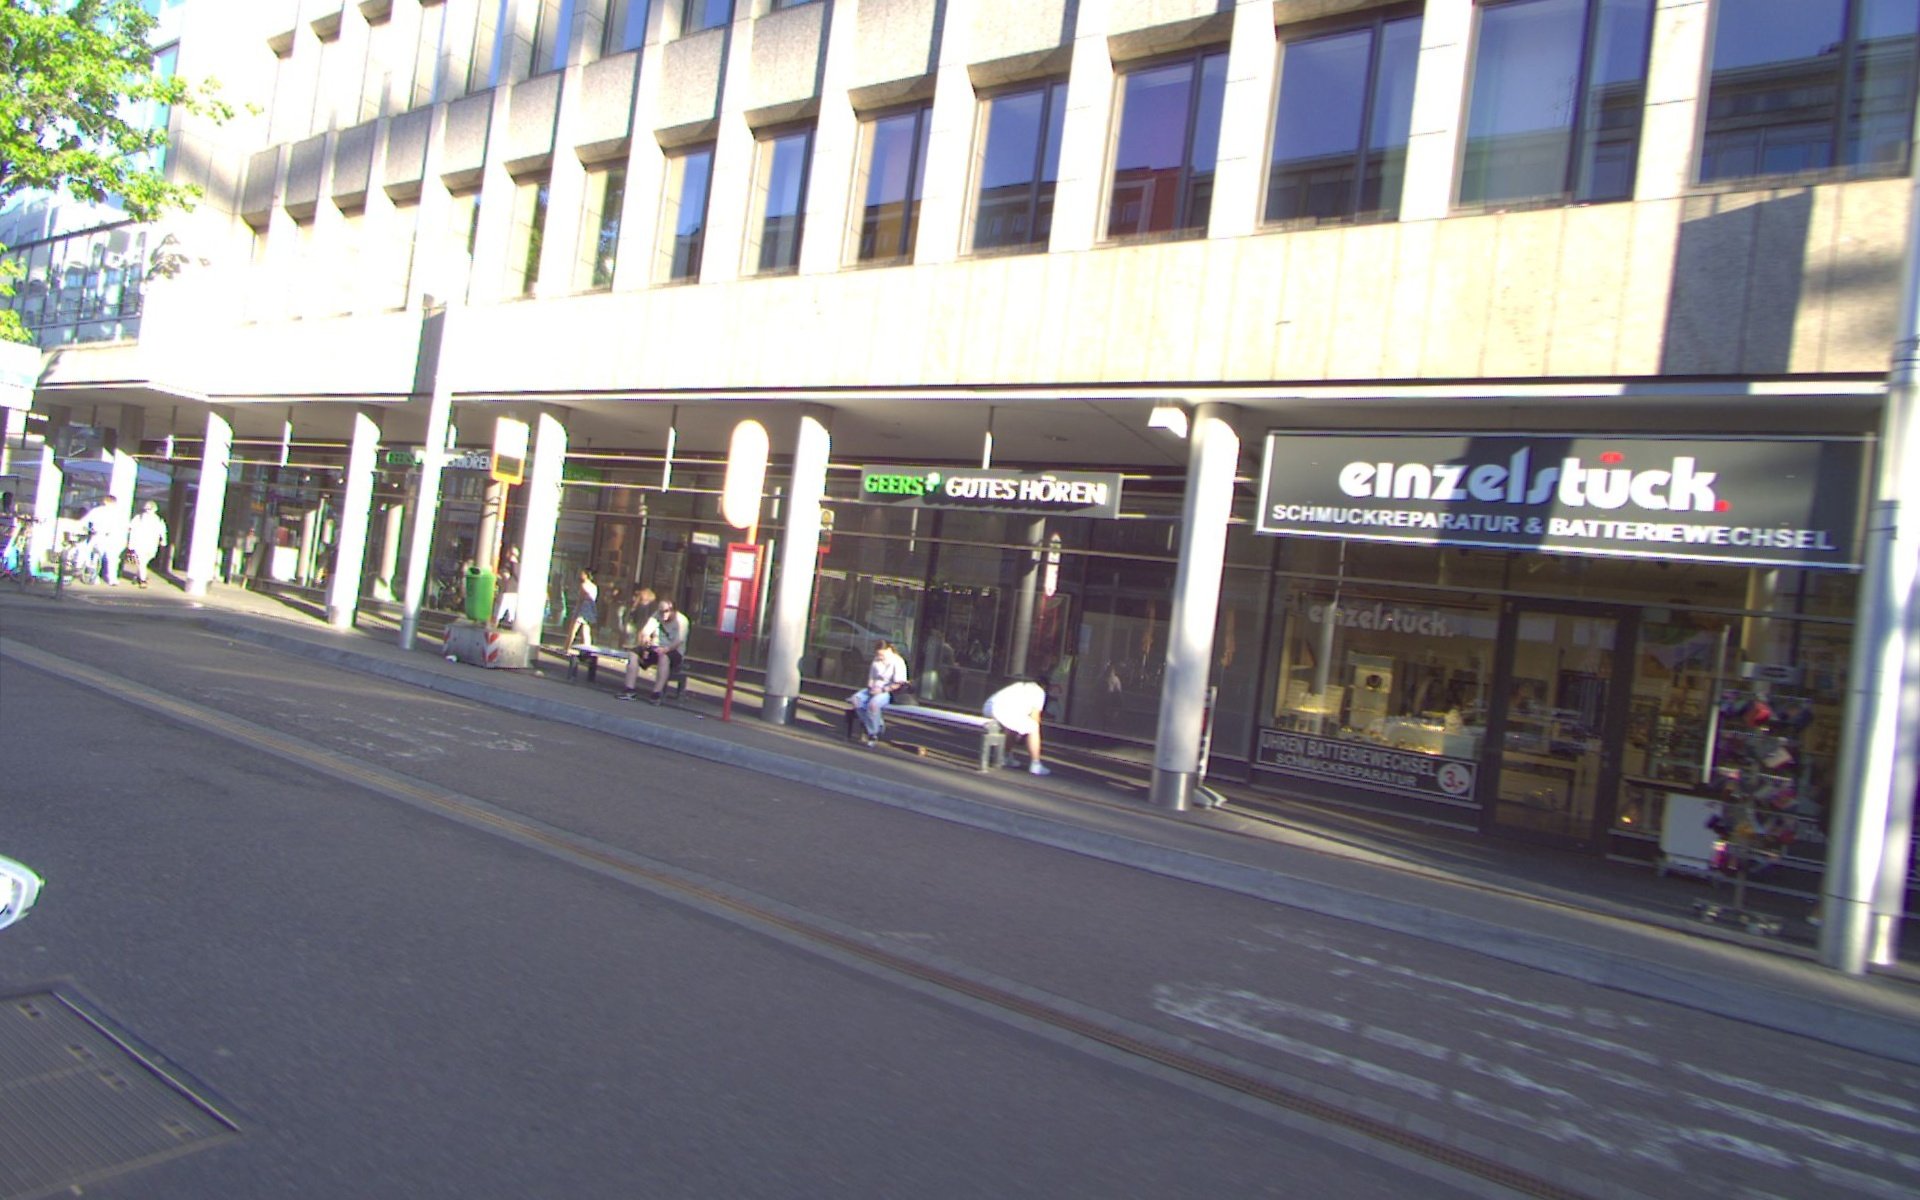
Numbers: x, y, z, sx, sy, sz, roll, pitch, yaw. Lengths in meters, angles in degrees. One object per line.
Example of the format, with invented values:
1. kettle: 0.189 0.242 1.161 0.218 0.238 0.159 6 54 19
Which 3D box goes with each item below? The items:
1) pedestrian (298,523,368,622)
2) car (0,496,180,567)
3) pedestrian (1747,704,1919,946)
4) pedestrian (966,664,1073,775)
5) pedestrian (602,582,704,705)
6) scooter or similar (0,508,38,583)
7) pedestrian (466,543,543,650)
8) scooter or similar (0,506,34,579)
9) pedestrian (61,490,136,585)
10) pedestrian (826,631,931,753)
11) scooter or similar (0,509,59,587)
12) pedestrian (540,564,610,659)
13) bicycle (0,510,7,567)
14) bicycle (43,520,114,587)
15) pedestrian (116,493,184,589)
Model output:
1. pedestrian: -11.390 -0.499 18.292 0.768 1.672 0.638 7 -1 32
2. car: -26.120 -2.012 30.242 1.620 1.490 3.813 7 -1 26
3. pedestrian: 7.098 1.771 8.188 0.843 1.720 0.745 7 -1 32
4. pedestrian: 0.642 1.274 10.773 0.685 1.043 0.837 7 -1 36
5. pedestrian: -3.832 0.546 12.610 0.763 1.393 0.837 8 -1 9
6. scooter or similar: -17.357 -0.999 18.313 0.648 1.293 0.529 7 1 20
7. pedestrian: -8.088 -0.064 17.887 0.821 1.761 0.717 7 -1 31
8. scooter or similar: -17.813 -1.085 18.731 0.648 1.293 0.529 7 1 20
9. pedestrian: -17.160 -1.227 20.045 0.678 1.768 0.900 7 3 31
10. pedestrian: -0.898 1.016 11.138 0.772 1.212 0.667 7 -1 36
11. scooter or similar: -16.716 -0.931 18.047 0.648 1.293 0.492 7 1 20
12. pedestrian: -6.834 0.201 17.853 0.783 1.560 0.643 7 -1 32
13. bicycle: -20.650 -1.355 20.320 0.598 1.171 1.914 7 0 20
14. bicycle: -17.589 -0.944 20.058 1.898 1.142 0.564 7 1 35
15. pedestrian: -16.559 -1.196 20.566 1.016 1.836 0.701 7 3 31
